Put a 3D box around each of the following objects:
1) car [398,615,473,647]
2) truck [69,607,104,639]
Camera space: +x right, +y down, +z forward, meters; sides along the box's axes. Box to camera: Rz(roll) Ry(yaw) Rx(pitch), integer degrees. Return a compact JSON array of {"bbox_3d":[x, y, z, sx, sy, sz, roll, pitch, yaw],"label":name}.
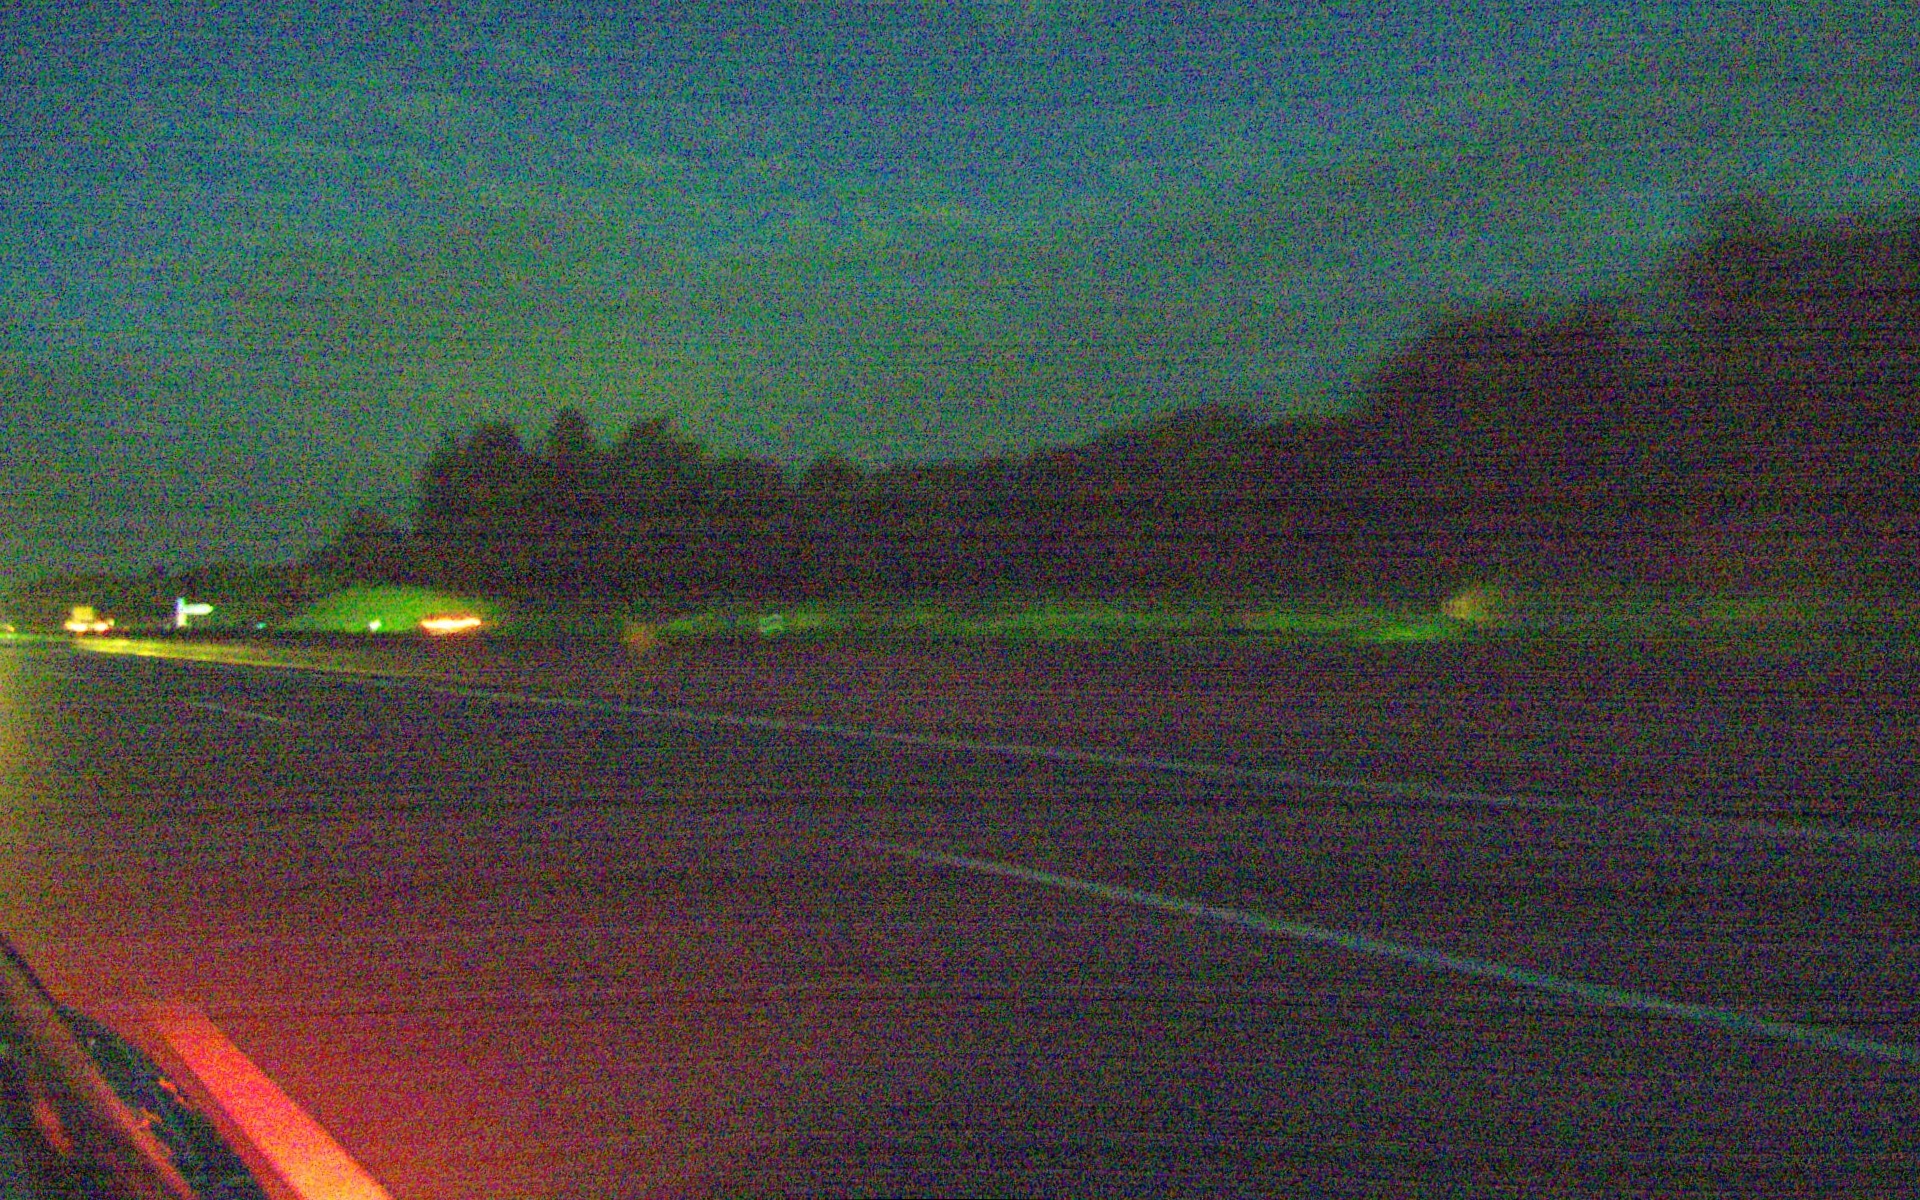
[{"bbox_3d":[-26.794,1.599,51.653,3.995,1.520,1.974,-2,0,39],"label":"car"},{"bbox_3d":[-112.776,3.014,130.677,9.065,3.881,2.492,-2,-1,43],"label":"truck"}]
